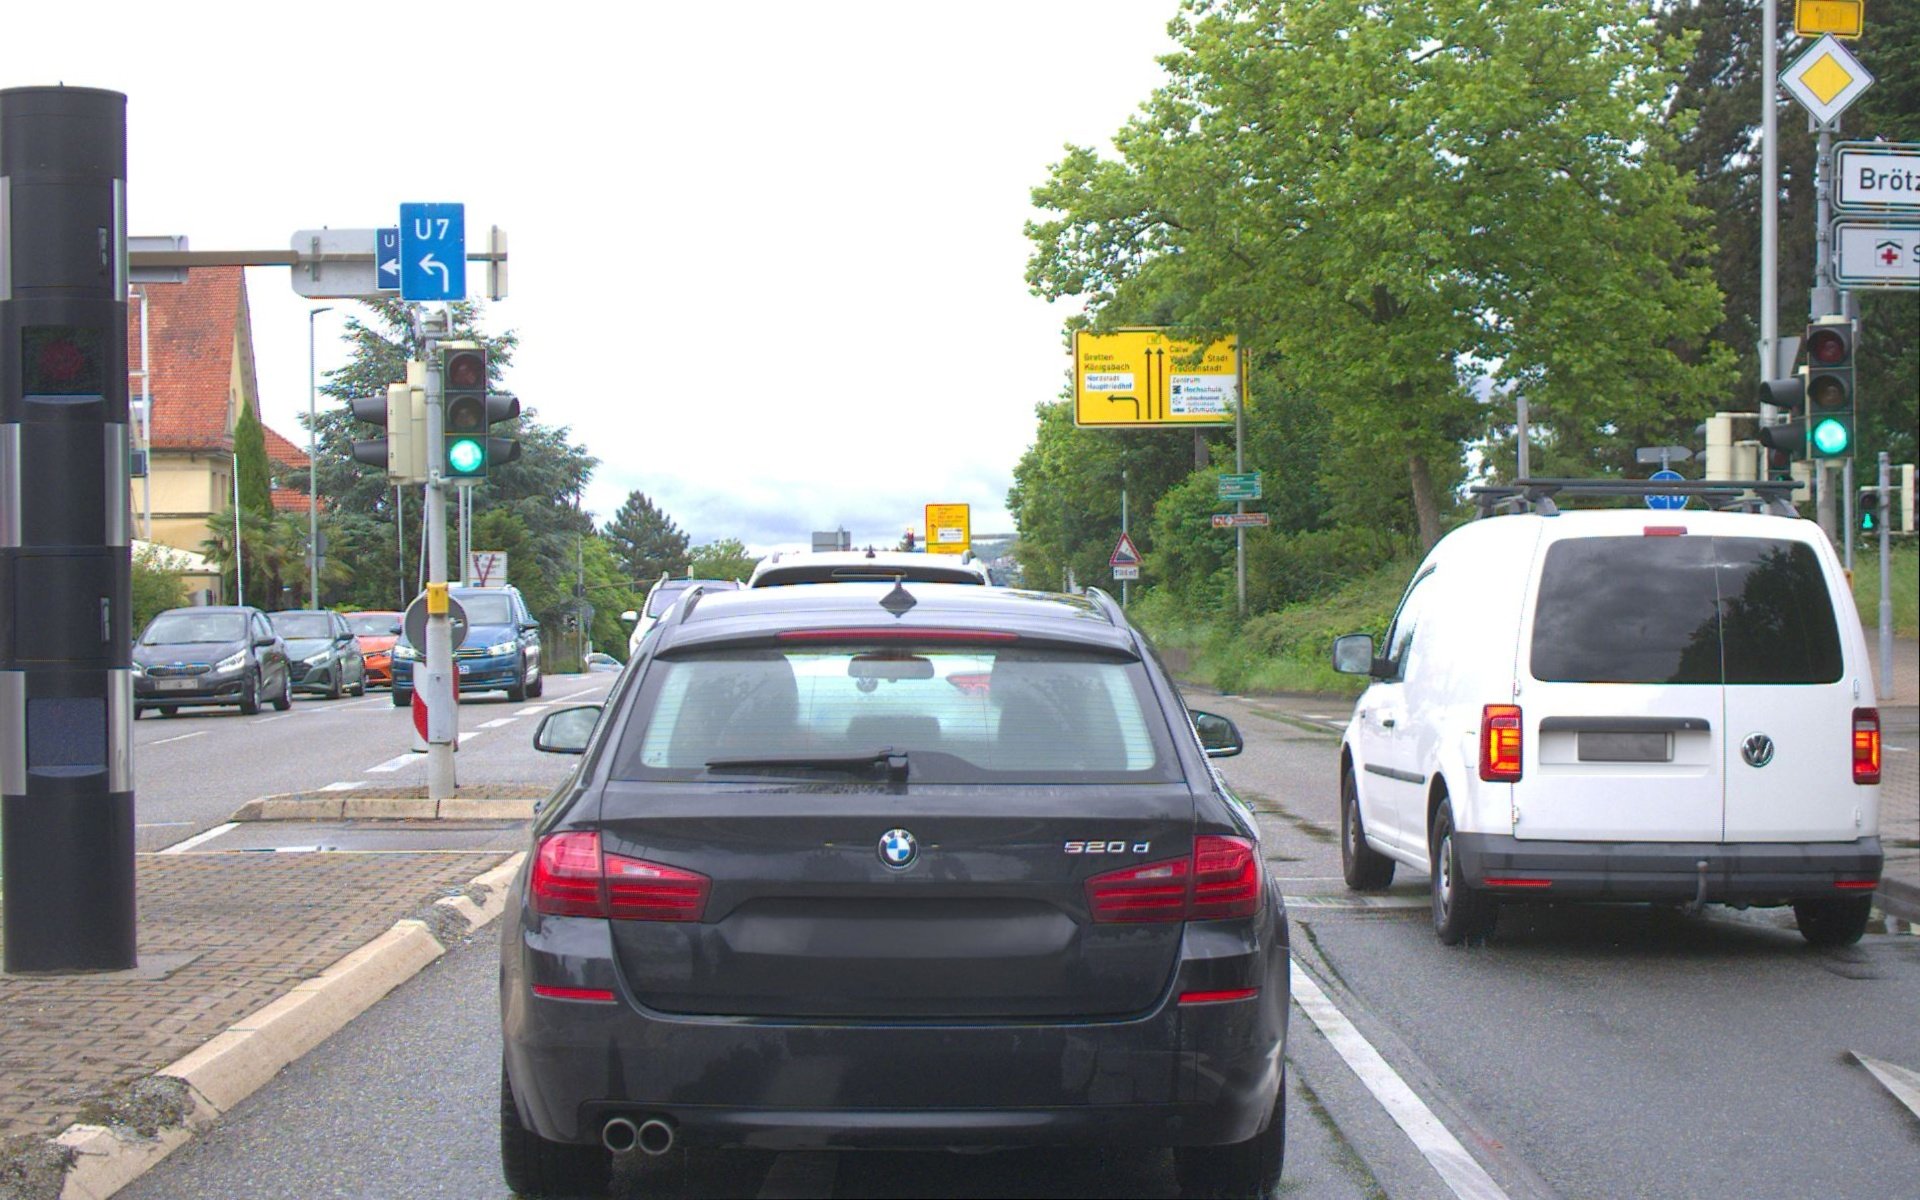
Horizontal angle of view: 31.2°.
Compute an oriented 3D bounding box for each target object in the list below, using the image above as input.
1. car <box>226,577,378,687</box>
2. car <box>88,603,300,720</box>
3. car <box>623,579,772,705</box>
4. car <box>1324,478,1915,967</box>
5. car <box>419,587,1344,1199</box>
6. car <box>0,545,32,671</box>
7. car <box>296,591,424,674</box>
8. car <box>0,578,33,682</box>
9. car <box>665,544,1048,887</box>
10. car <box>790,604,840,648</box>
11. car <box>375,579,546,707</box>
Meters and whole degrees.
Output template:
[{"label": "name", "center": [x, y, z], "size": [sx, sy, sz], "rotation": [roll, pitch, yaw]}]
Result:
[{"label": "car", "center": [-10.469, 0.483, 54.946], "size": [1.676, 1.612, 4.000], "rotation": [-2, 1, -1]}, {"label": "car", "center": [-10.131, 0.783, 45.762], "size": [1.917, 1.375, 4.125], "rotation": [-2, 1, -1]}, {"label": "car", "center": [-3.594, 0.539, 47.722], "size": [1.839, 1.644, 4.297], "rotation": [-1, 0, -2]}, {"label": "car", "center": [2.739, 0.443, 15.122], "size": [1.764, 1.871, 3.805], "rotation": [0, 1, -1]}, {"label": "car", "center": [-0.177, 0.717, 9.093], "size": [1.899, 1.436, 4.000], "rotation": [0, 1, 0]}, {"label": "car", "center": [-17.392, 0.220, 55.184], "size": [4.385, 2.007, 2.000], "rotation": [-3, 0, -29]}, {"label": "car", "center": [-10.585, 0.553, 60.886], "size": [1.622, 1.327, 3.946], "rotation": [-2, 1, -1]}, {"label": "car", "center": [-18.387, 0.614, 57.855], "size": [4.996, 1.697, 2.000], "rotation": [-2, -2, -28]}, {"label": "car", "center": [-0.521, 0.536, 18.850], "size": [1.868, 1.668, 4.000], "rotation": [0, 1, 0]}, {"label": "car", "center": [-5.824, 1.027, 138.218], "size": [1.868, 1.668, 4.000], "rotation": [0, 1, 0]}, {"label": "car", "center": [-6.958, 0.563, 48.296], "size": [1.839, 1.644, 4.297], "rotation": [-2, 1, -2]}]
